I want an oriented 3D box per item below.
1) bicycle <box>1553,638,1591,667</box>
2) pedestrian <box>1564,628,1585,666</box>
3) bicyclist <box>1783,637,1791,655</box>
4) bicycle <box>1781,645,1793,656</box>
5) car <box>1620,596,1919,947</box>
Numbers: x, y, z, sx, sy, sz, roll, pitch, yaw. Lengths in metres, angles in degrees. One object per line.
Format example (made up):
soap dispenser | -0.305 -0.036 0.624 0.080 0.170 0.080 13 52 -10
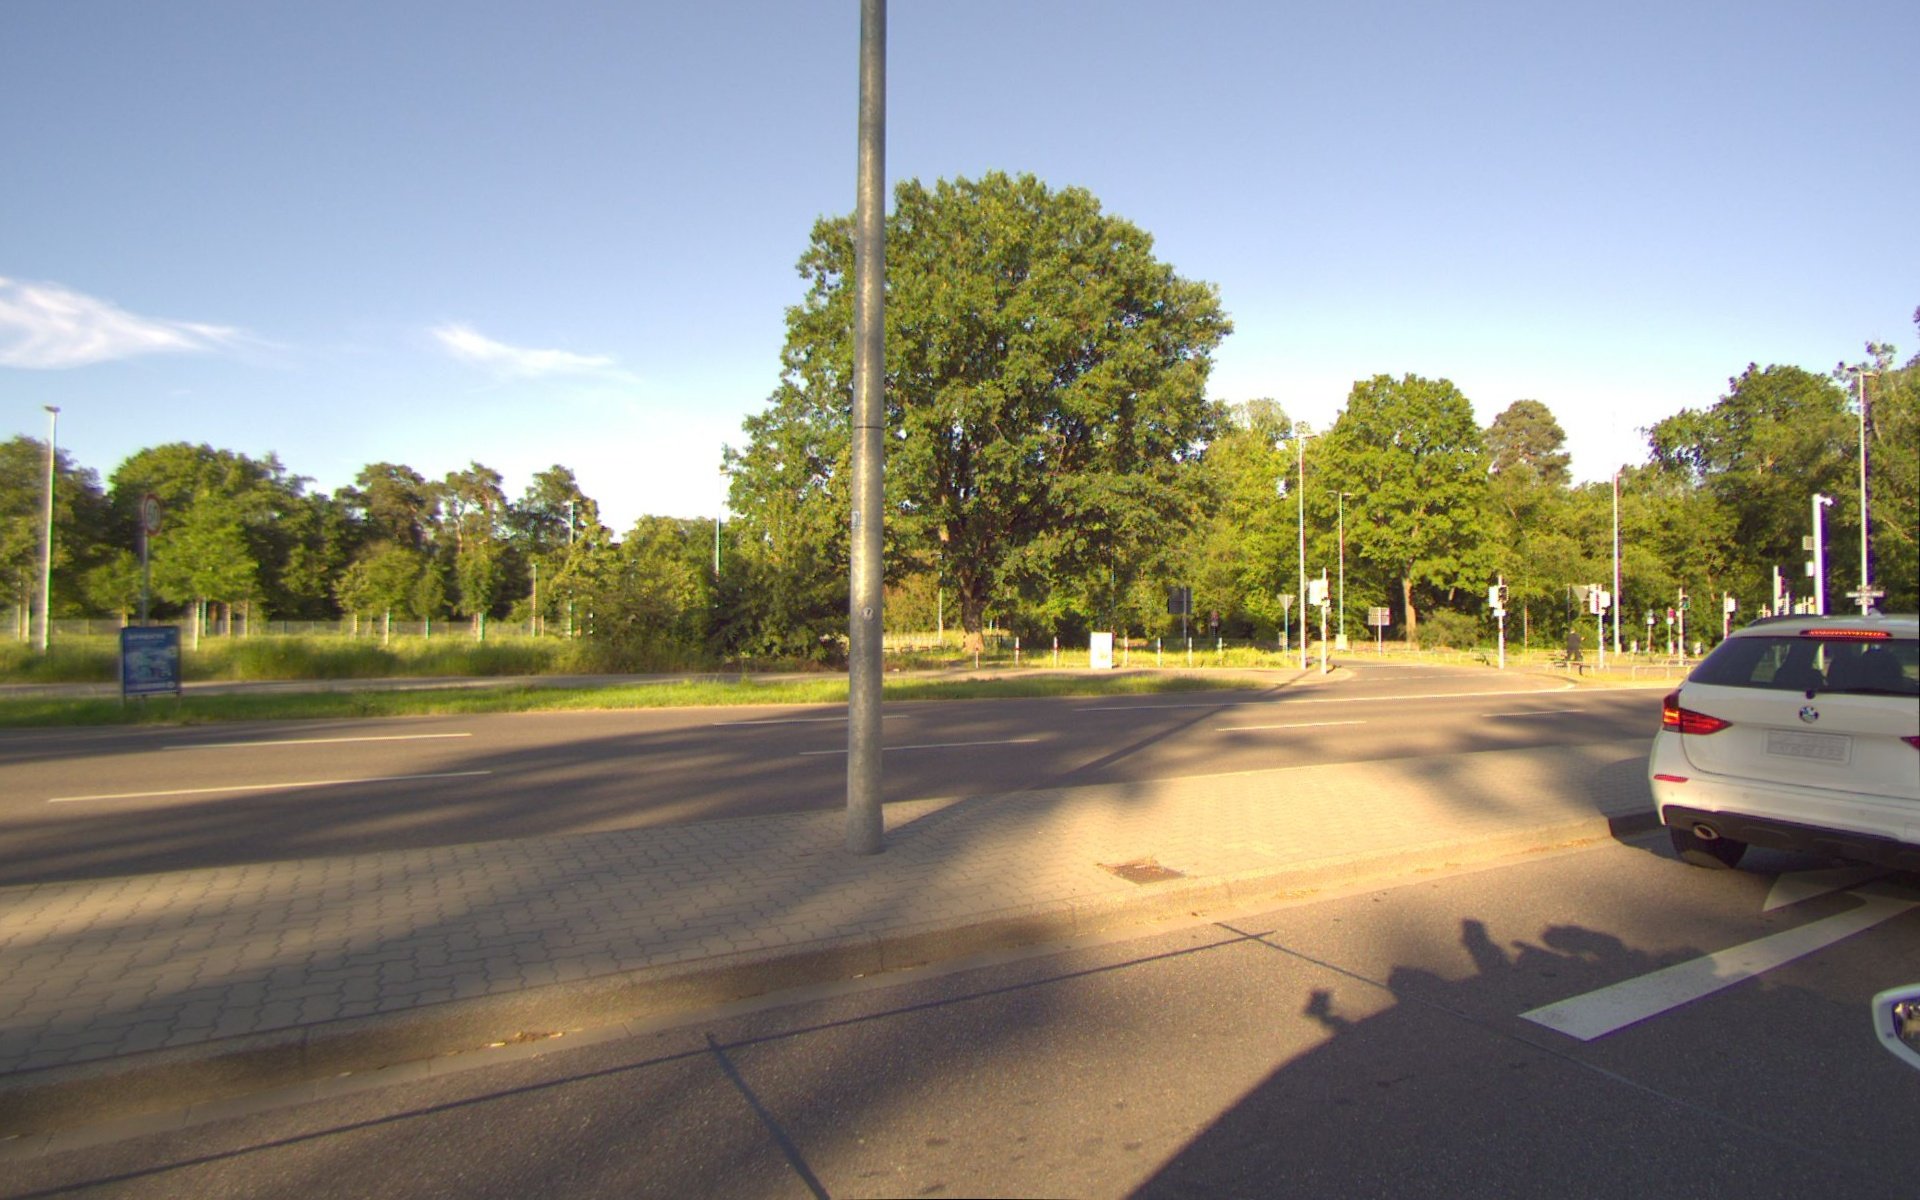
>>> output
bicycle | 26.059 2.245 42.757 1.980 1.193 0.466 2 0 -31
pedestrian | 26.220 1.989 42.844 0.641 1.583 0.479 2 0 -30
bicyclist | 44.280 2.451 53.792 0.238 0.975 0.271 2 0 -35
bicycle | 44.325 2.715 53.825 0.831 0.589 0.264 2 0 -36
car | 6.075 0.811 6.093 4.382 1.602 1.710 1 0 -31
